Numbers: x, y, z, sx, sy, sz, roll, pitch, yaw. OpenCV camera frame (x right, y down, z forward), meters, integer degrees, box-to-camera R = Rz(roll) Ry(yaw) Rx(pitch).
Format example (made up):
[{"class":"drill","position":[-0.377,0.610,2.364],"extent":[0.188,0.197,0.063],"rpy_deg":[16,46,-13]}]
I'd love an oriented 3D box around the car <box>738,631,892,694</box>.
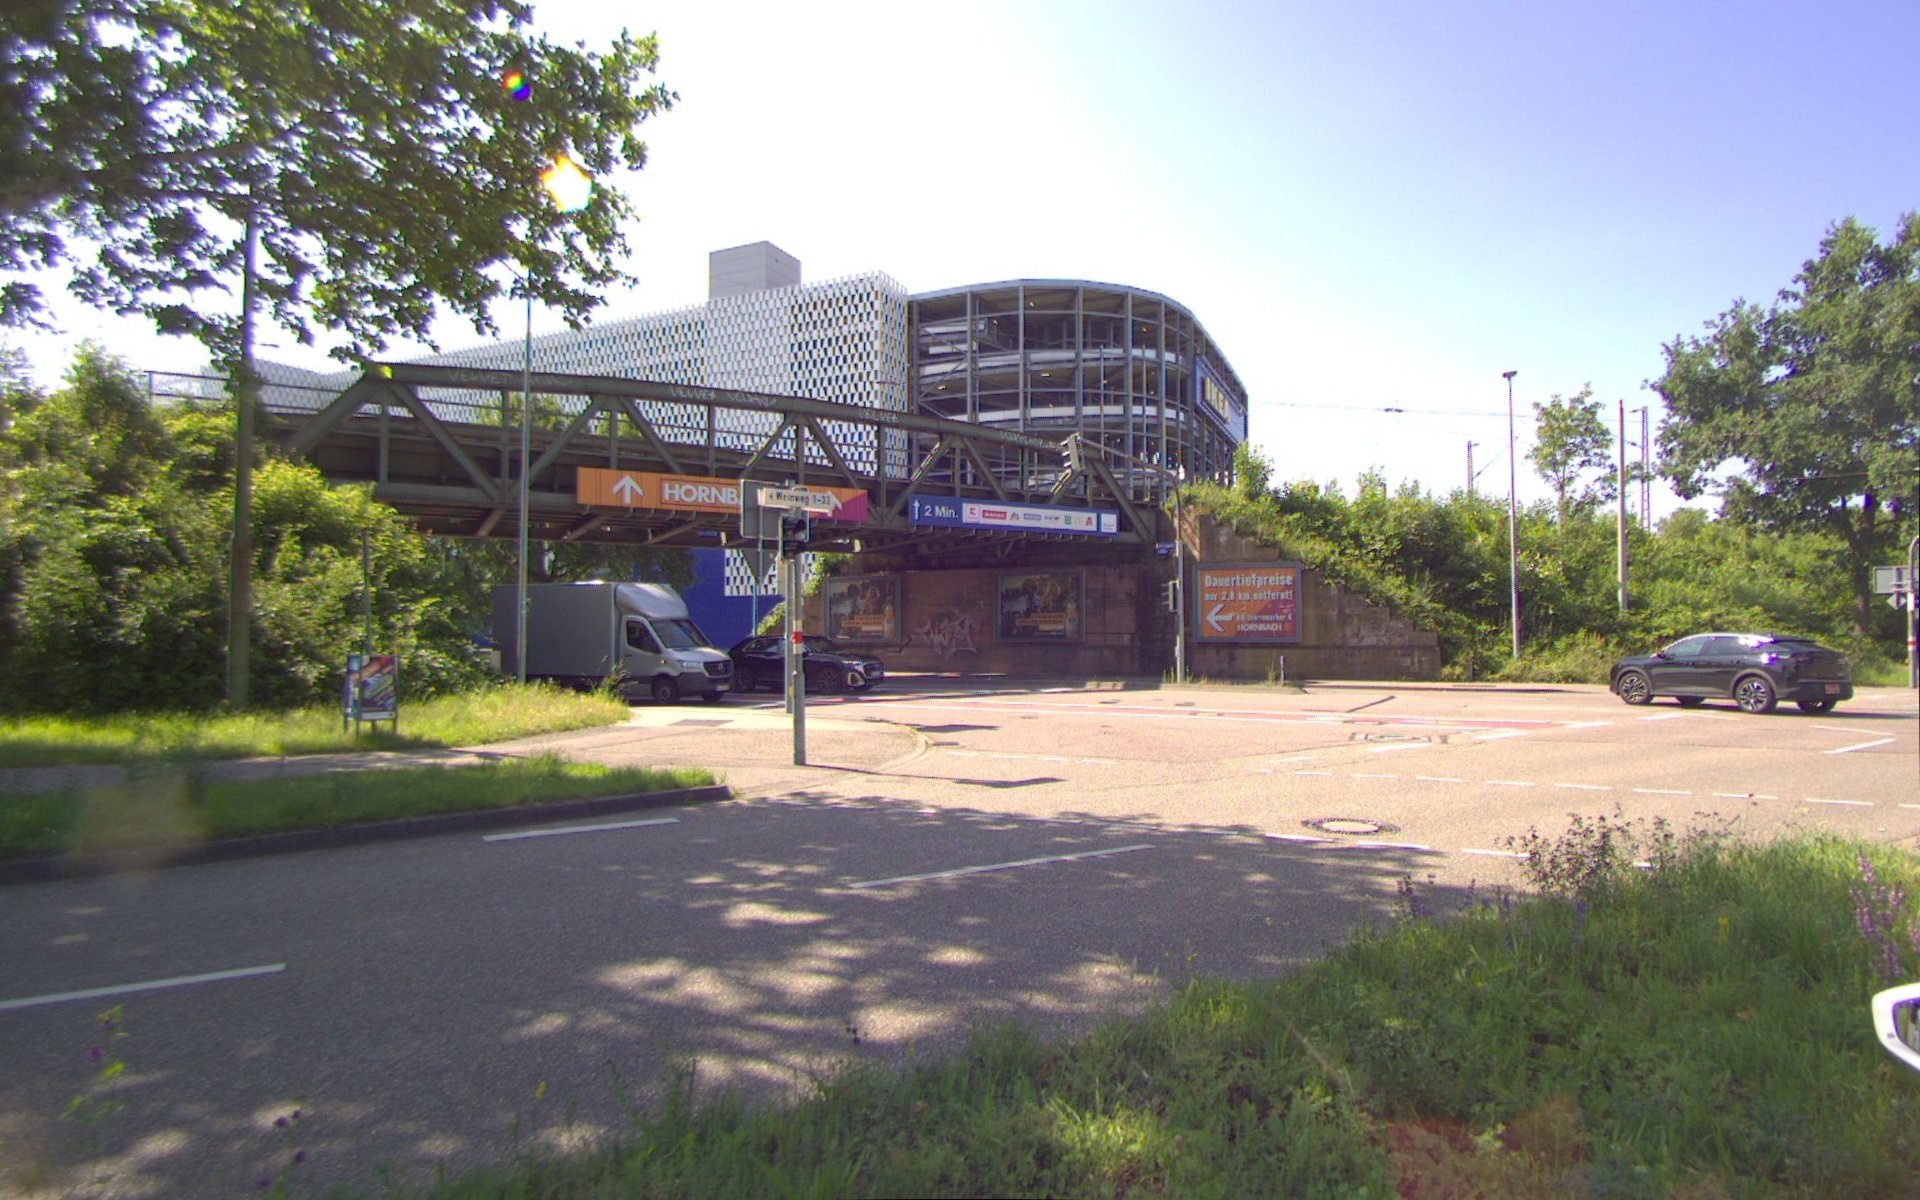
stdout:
[{"class":"car","position":[-4.108,1.758,28.479],"extent":[3.925,1.668,1.903],"rpy_deg":[-2,-2,25]}]

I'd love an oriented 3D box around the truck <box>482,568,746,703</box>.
[{"class":"truck","position":[-8.942,0.961,25.800],"extent":[6.736,3.146,2.217],"rpy_deg":[-2,-2,25]}]

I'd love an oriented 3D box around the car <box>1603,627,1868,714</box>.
[{"class":"car","position":[16.480,1.441,21.654],"extent":[1.905,1.684,4.215],"rpy_deg":[0,-2,-16]}]
